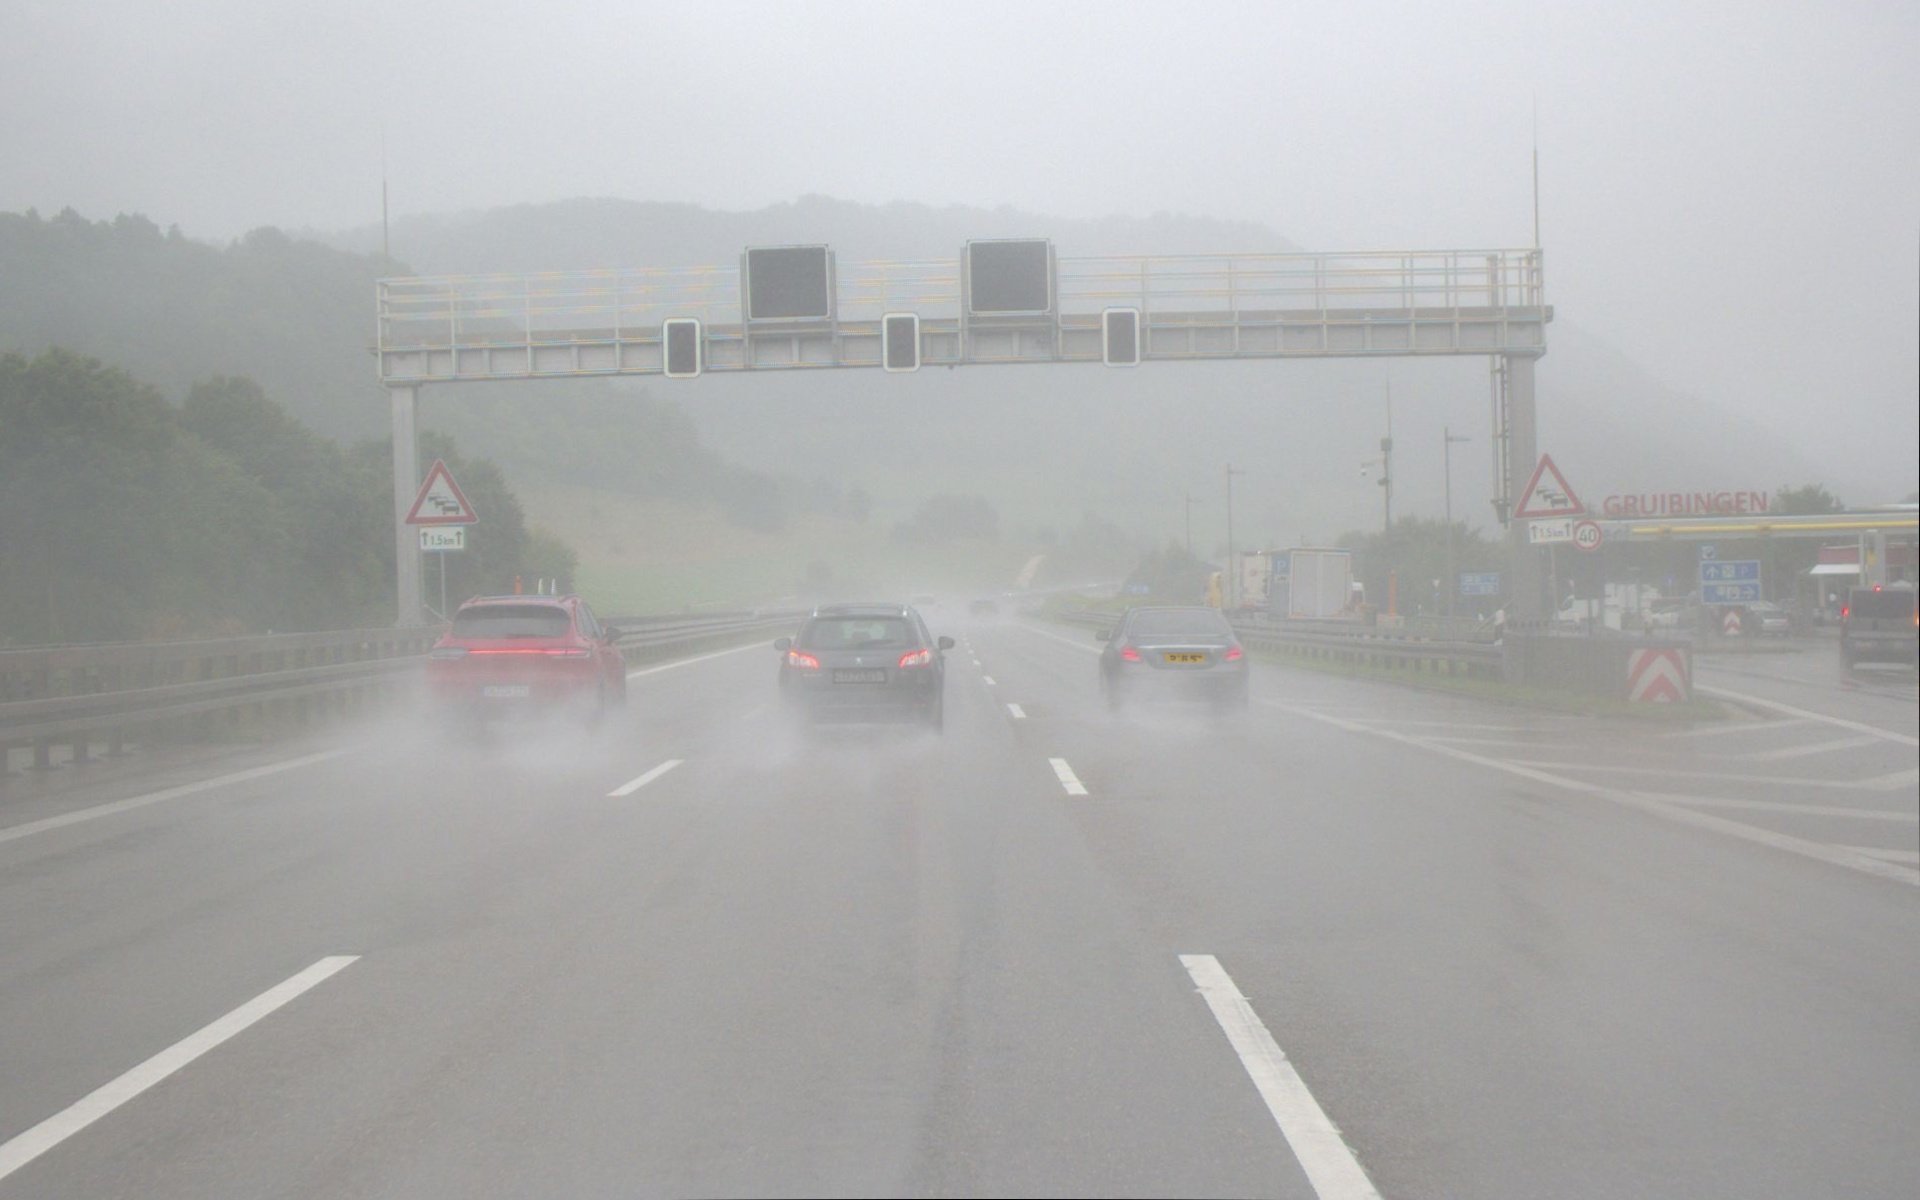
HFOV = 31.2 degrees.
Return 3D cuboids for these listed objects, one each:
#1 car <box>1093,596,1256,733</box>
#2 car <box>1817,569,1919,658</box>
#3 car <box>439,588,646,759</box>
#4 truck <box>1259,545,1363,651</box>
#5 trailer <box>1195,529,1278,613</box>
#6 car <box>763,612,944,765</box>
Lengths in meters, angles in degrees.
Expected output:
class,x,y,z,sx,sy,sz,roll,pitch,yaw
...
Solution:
class,x,y,z,sx,sy,sz,roll,pitch,yaw
car,2.872,0.840,46.750,1.971,1.754,4.000,0,0,0
car,21.156,0.295,79.654,1.994,2.007,5.053,0,0,8
car,-4.659,0.775,38.843,1.884,1.809,4.000,-1,0,-1
truck,15.227,-0.112,150.058,3.401,4.387,11.049,1,0,0
trailer,14.405,-1.443,180.054,3.516,4.247,11.919,0,0,1
car,-1.130,0.938,38.145,1.859,1.584,4.000,0,0,0
